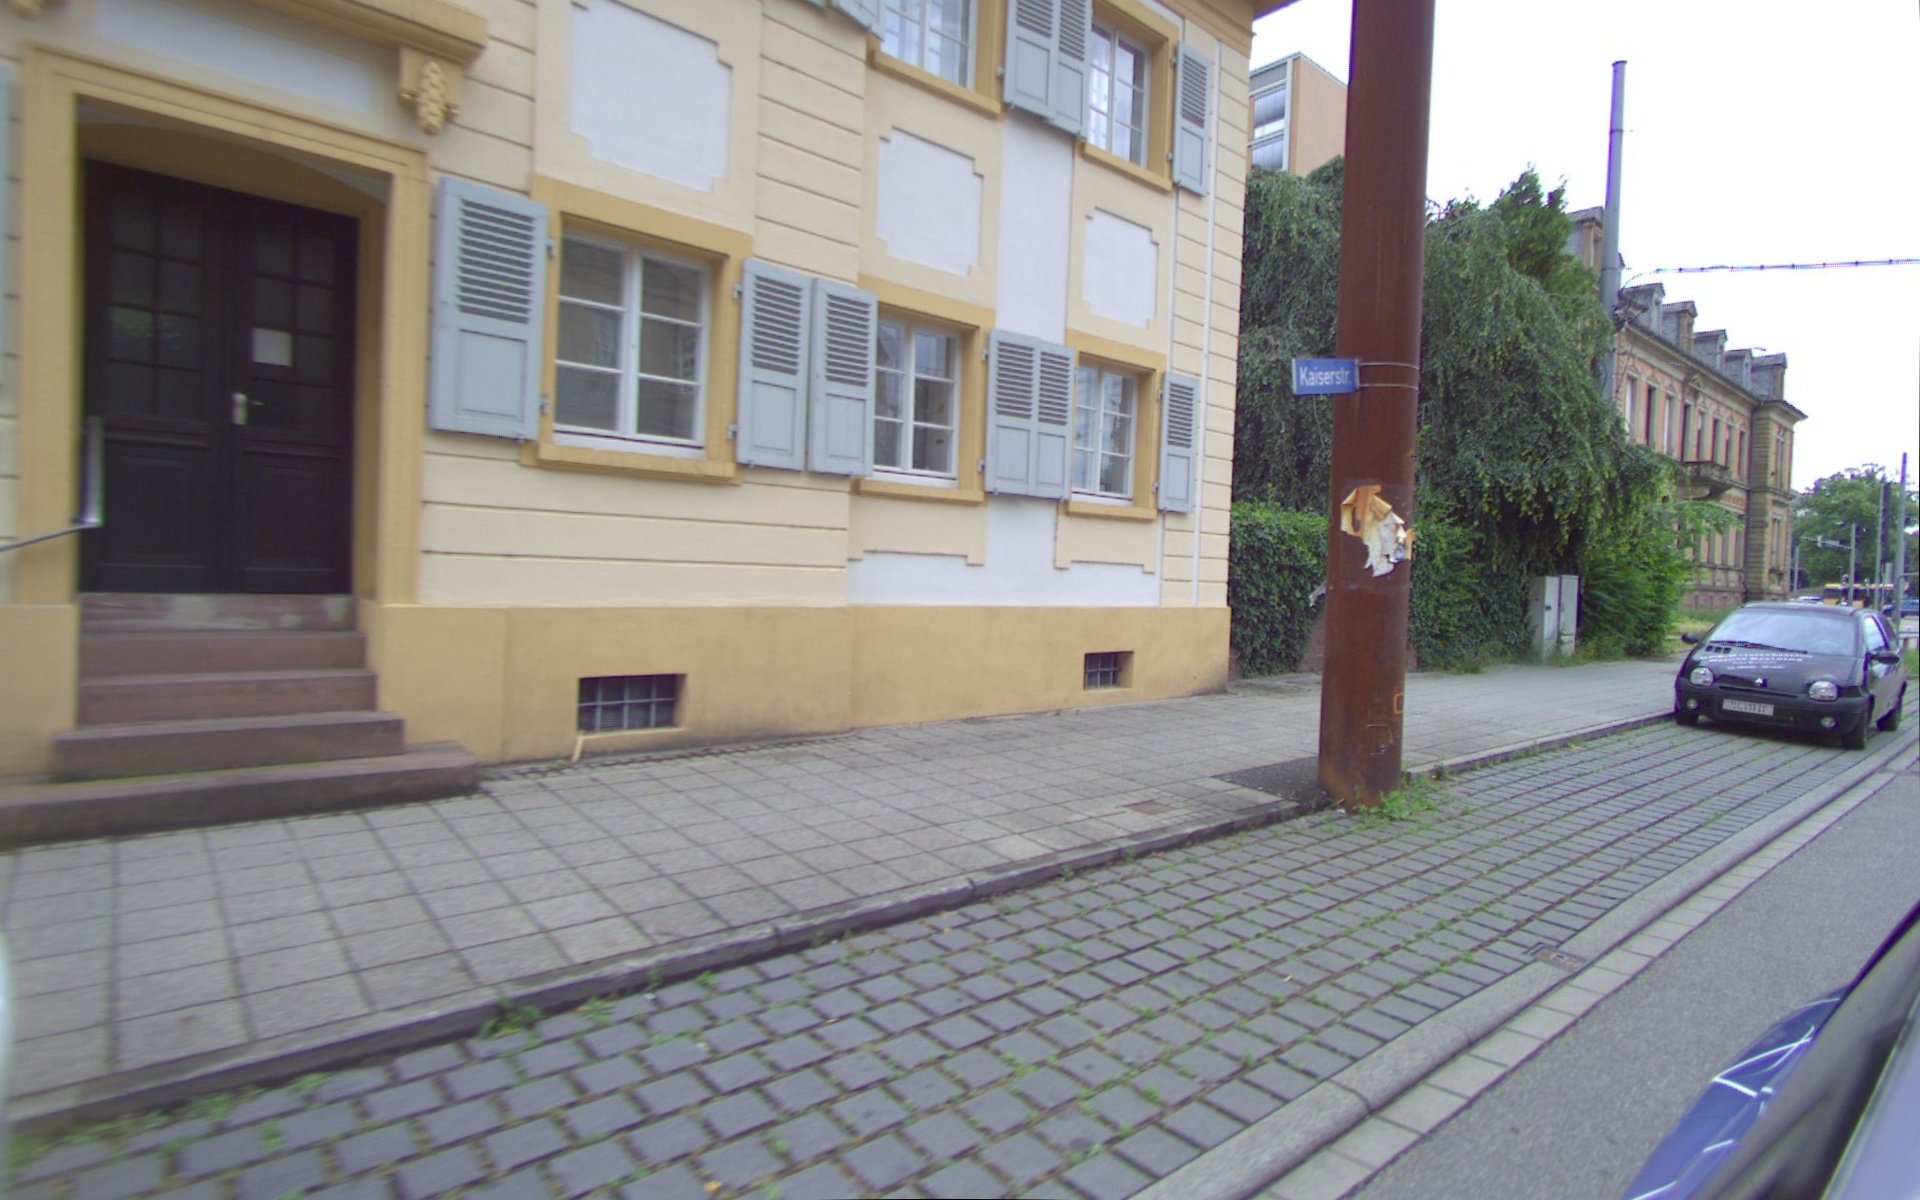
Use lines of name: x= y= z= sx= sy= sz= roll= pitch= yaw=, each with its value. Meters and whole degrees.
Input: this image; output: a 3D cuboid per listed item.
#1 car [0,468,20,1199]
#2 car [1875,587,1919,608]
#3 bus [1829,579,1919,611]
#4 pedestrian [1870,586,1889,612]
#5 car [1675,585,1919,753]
car: x=-3.010 y=0.582 z=0.344 sx=3.862 sy=1.593 sz=1.759 roll=0 pitch=4 yaw=-41
car: x=77.847 y=-0.164 z=82.945 sx=1.962 sy=1.512 sz=4.058 roll=5 pitch=0 yaw=0
bus: x=100.065 y=-0.628 z=110.868 sx=2.826 sy=3.115 sz=11.956 roll=1 pitch=2 yaw=17
pedestrian: x=71.836 y=-0.091 z=79.085 sx=0.773 sy=1.967 sz=0.973 roll=2 pitch=1 yaw=26
car: x=9.566 y=0.640 z=11.307 sx=3.862 sy=1.451 sz=1.641 roll=0 pitch=4 yaw=-41
